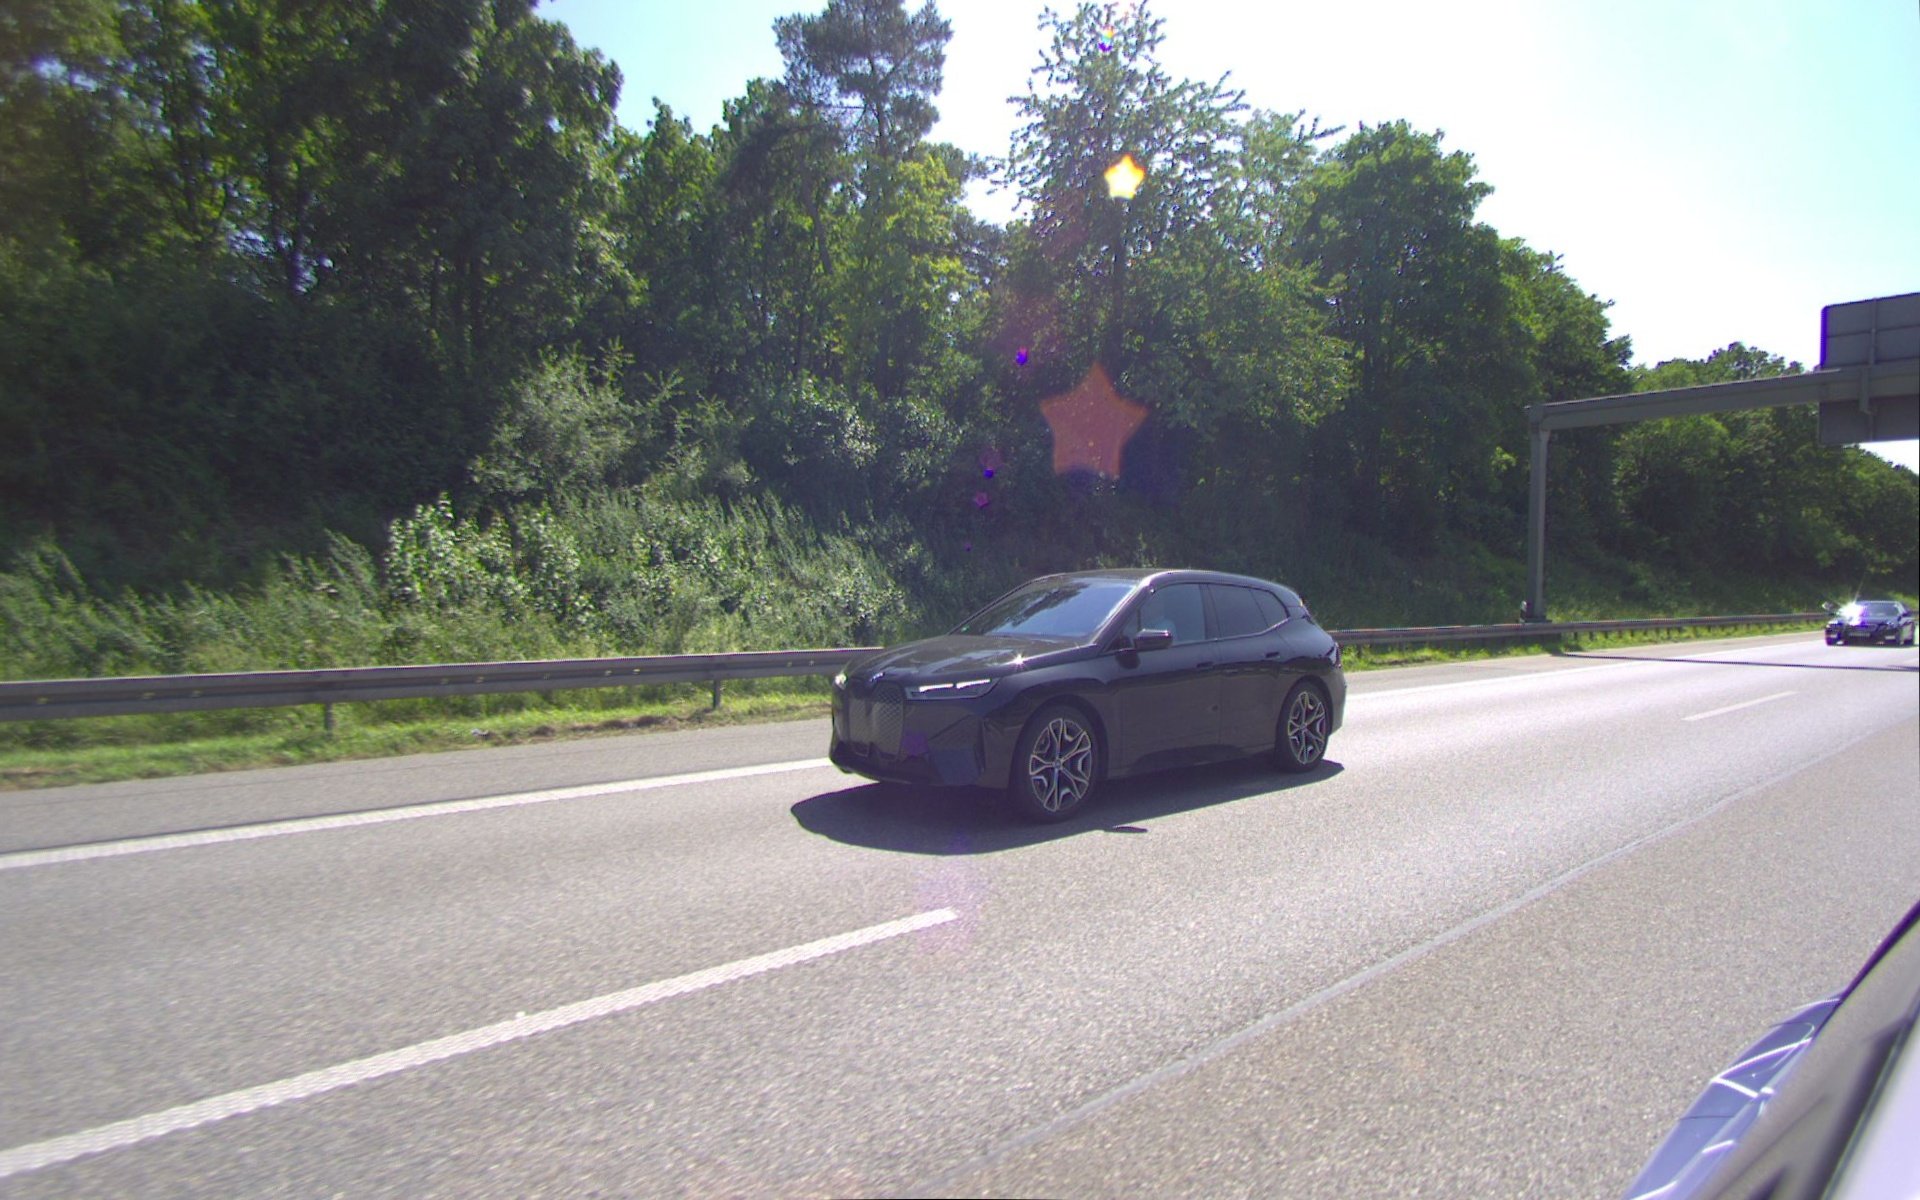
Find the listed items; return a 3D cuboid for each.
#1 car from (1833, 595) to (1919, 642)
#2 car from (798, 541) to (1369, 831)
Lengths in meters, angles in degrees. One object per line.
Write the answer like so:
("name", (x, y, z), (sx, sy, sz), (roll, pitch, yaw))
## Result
("car", (30.053, 0.549, 32.954), (4.066, 1.415, 1.915), (0, 1, -41))
("car", (1.187, 0.492, 8.118), (4.602, 1.690, 1.924), (0, 0, -39))
